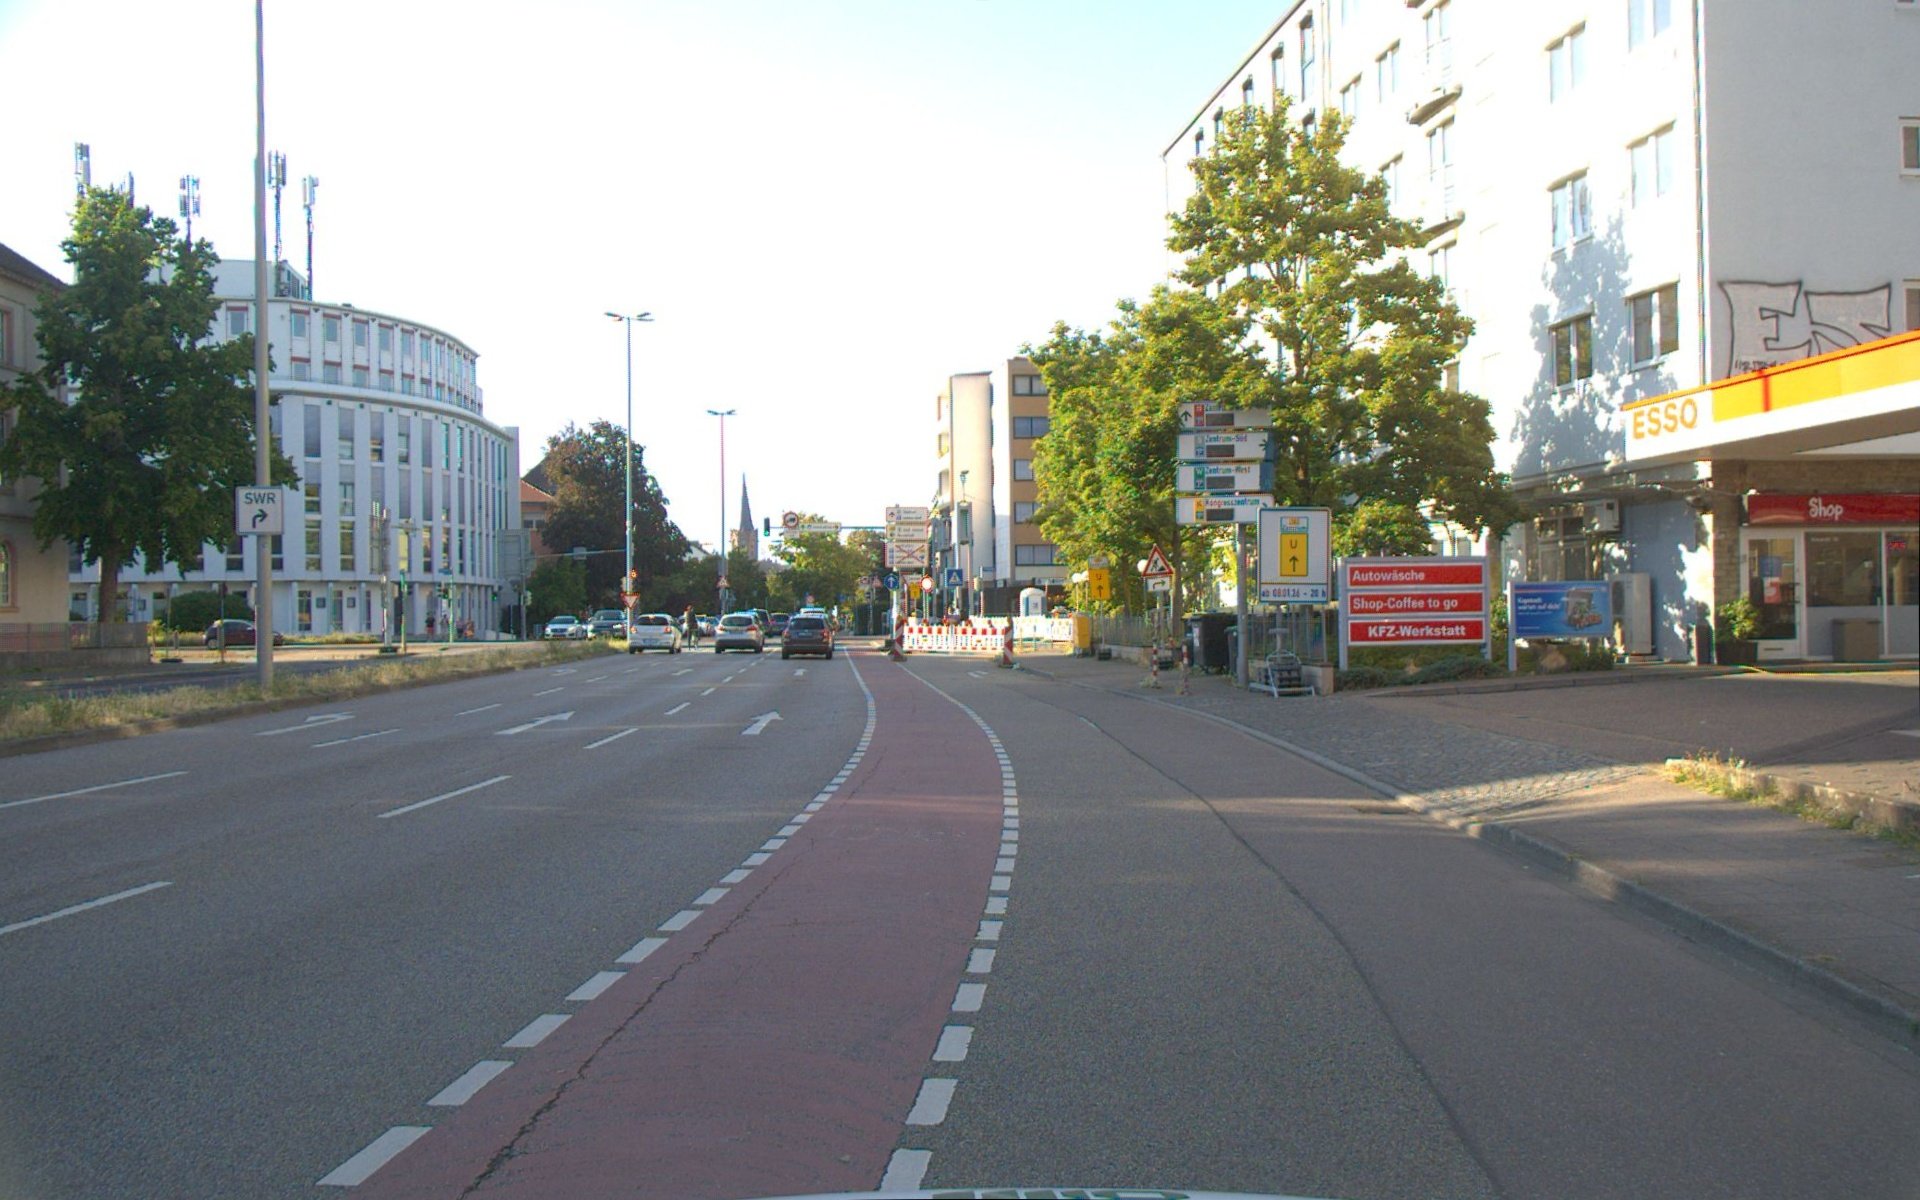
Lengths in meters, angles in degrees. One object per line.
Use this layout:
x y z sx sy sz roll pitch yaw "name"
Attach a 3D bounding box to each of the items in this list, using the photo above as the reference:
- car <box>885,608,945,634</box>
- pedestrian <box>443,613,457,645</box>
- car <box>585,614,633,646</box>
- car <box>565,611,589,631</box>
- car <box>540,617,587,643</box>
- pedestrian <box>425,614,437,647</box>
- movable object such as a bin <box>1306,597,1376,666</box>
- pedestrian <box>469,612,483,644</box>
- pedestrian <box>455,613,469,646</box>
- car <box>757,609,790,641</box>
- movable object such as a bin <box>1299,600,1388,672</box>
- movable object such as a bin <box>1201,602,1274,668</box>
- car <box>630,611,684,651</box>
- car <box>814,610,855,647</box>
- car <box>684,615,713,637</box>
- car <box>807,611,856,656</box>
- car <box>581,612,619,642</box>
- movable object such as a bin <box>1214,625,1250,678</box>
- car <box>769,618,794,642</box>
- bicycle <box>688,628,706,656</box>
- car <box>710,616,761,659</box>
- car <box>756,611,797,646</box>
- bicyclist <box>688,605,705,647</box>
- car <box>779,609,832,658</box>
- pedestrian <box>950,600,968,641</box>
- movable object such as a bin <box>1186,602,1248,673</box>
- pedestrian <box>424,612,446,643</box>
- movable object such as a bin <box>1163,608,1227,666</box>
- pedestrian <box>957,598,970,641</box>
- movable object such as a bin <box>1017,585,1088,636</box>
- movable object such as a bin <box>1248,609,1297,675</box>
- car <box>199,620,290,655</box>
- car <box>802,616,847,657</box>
-3.344 1.558 123.098 4.280 1.910 1.997 -1 -1 -7 "car"
-30.119 1.701 97.695 0.746 1.874 0.815 -1 -1 -15 "pedestrian"
-18.795 1.596 88.633 1.955 1.606 4.893 -1 -1 -6 "car"
-31.953 1.734 138.081 1.808 1.599 3.988 -1 -1 -12 "car"
-23.249 1.757 97.072 1.954 1.438 4.439 -2 0 -4 "car"
-31.211 1.797 97.517 0.649 1.891 0.775 -1 -1 -17 "pedestrian"
8.502 0.693 36.967 1.171 1.446 1.278 -2 0 -3 "movable object such as a bin"
-28.374 1.635 96.947 0.614 1.901 1.125 -1 -1 -6 "pedestrian"
-29.164 1.724 96.873 0.647 1.901 0.777 -1 -1 -7 "pedestrian"
-10.214 1.380 90.900 1.632 1.686 3.996 -1 -1 -4 "car"
7.920 0.745 34.221 1.577 1.435 0.864 -1 -1 -7 "movable object such as a bin"
6.490 0.813 38.736 1.304 1.511 1.206 -1 -1 -15 "movable object such as a bin"
-11.699 1.159 64.061 1.652 1.482 3.996 0 0 -5 "car"
-5.906 1.313 77.397 1.784 1.668 3.995 -1 -1 -6 "car"
-18.019 1.789 114.123 1.813 1.487 4.042 -1 0 -8 "car"
-5.034 1.331 65.095 1.693 1.630 3.720 -2 -2 -2 "car"
-24.080 1.844 110.710 1.804 1.848 3.997 -2 -2 -2 "car"
5.594 1.052 33.999 0.606 1.064 0.616 -1 -1 -3 "movable object such as a bin"
-12.723 2.125 117.885 1.632 1.686 3.996 -1 -1 -4 "car"
-11.044 1.767 69.465 0.686 1.119 2.254 -1 -1 -8 "bicycle"
-8.789 1.445 65.041 1.714 1.591 4.046 -1 0 -4 "car"
-8.643 1.321 78.130 1.714 1.591 4.046 -1 0 -4 "car"
-11.034 1.092 69.310 0.678 1.758 0.986 -1 -1 -8 "bicyclist"
-5.256 1.123 56.776 1.714 1.591 4.046 -1 0 -4 "car"
-0.054 0.915 73.512 0.726 1.831 0.715 -1 -1 -2 "pedestrian"
5.738 0.854 36.958 1.071 1.534 1.253 -1 -3 -5 "movable object such as a bin"
-34.698 1.809 109.325 1.069 2.049 1.036 -1 -1 6 "pedestrian"
5.763 0.898 40.610 1.196 1.367 1.049 -1 -1 -20 "movable object such as a bin"
0.141 0.877 74.431 0.510 1.901 0.614 -1 -1 -6 "pedestrian"
4.572 0.524 81.698 3.264 2.425 1.527 -1 -1 -6 "movable object such as a bin"
6.446 0.855 34.165 0.762 1.332 0.864 -1 -1 -6 "movable object such as a bin"
-35.453 1.877 82.069 3.737 1.557 1.859 -2 -2 -8 "car"
-5.612 1.513 68.964 1.693 1.606 3.721 -1 0 -2 "car"
